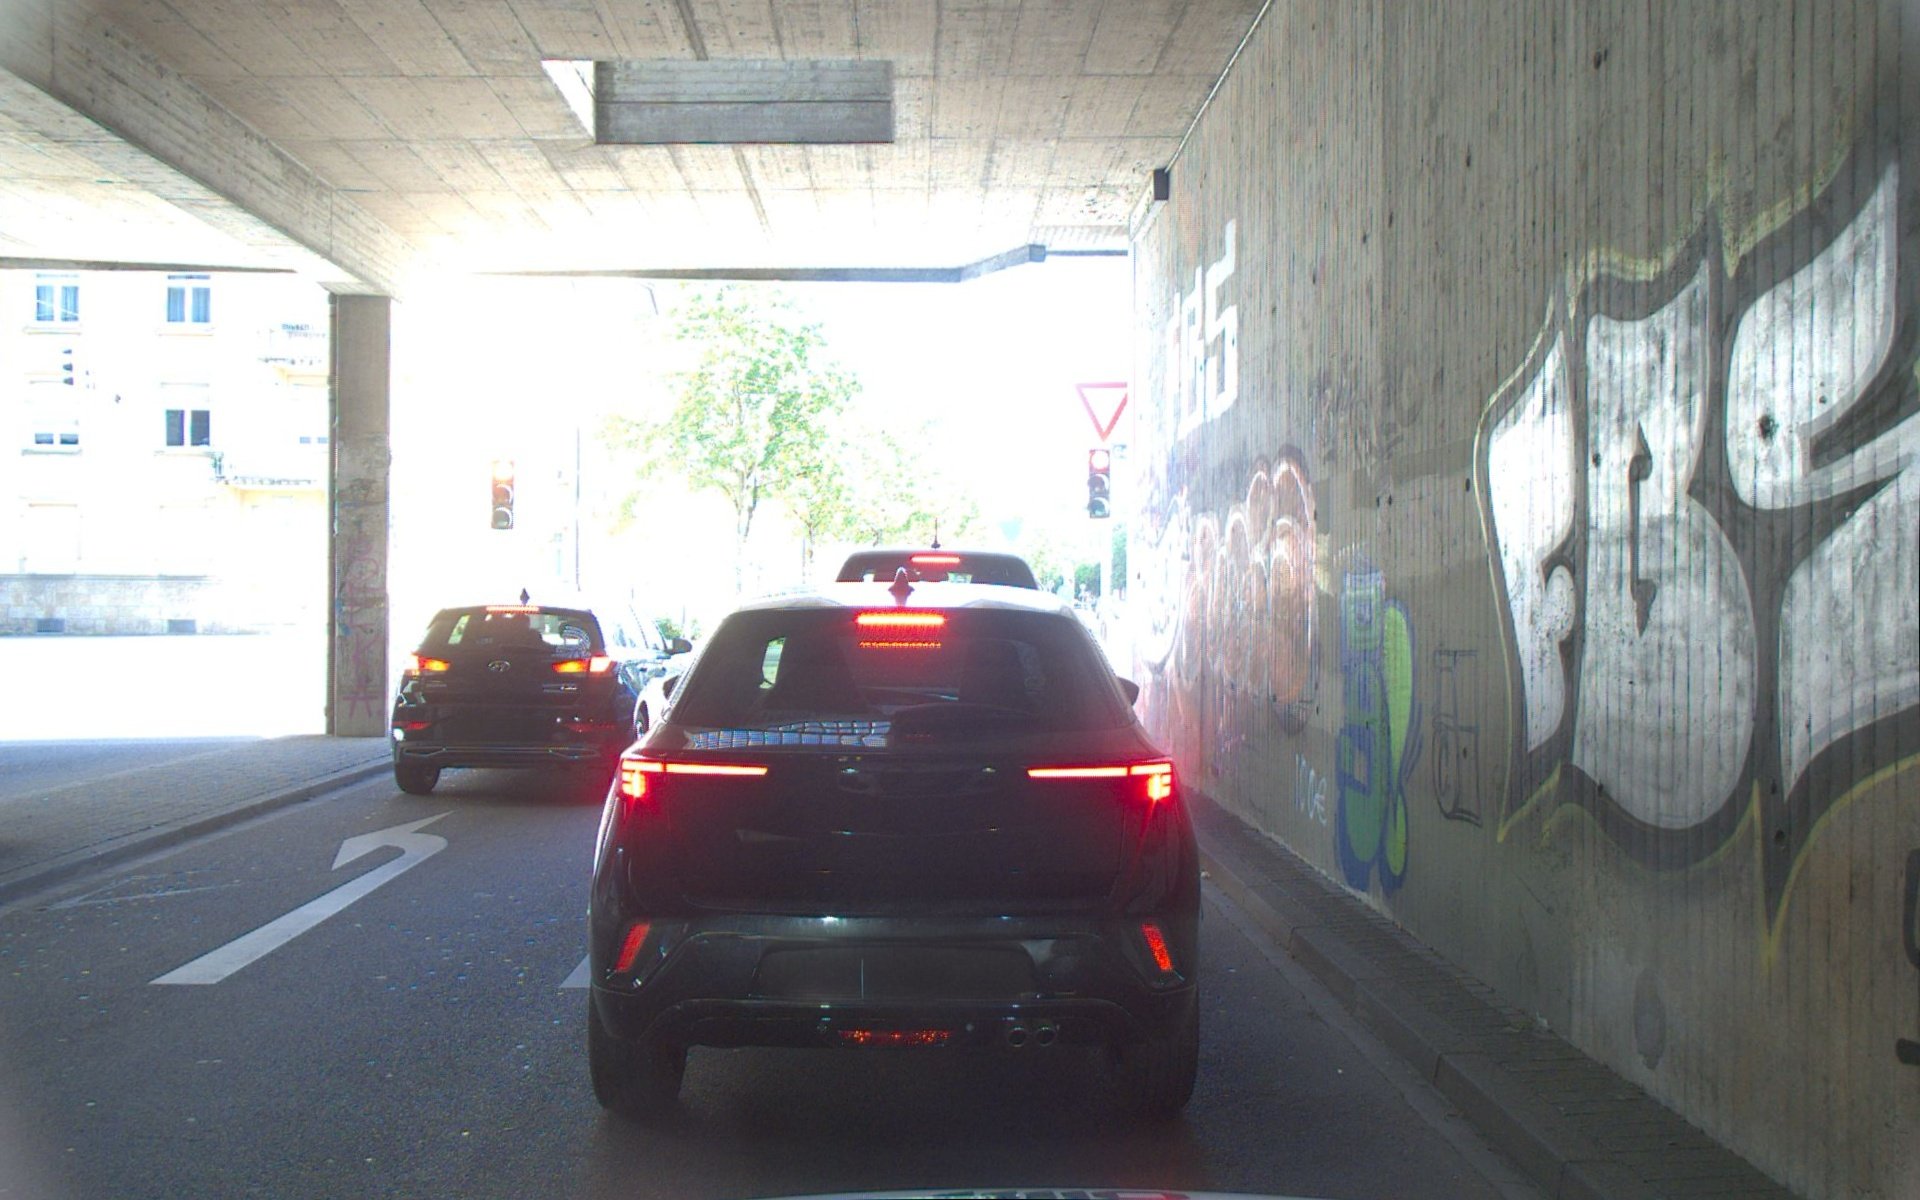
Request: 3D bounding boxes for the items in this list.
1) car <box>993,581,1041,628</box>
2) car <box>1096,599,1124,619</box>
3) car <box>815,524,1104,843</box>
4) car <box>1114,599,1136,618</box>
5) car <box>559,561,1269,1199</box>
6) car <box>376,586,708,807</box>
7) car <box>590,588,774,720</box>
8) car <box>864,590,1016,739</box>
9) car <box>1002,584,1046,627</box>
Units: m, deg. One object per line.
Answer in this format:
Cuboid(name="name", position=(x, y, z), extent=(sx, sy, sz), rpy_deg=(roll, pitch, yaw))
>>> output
Cuboid(name="car", position=(2.176, 0.180, 62.228), extent=(1.717, 1.696, 3.946), rpy_deg=(1, 0, 3))
Cuboid(name="car", position=(13.121, 0.786, 144.484), extent=(1.779, 1.696, 4.819), rpy_deg=(1, 0, 12))
Cuboid(name="car", position=(-0.031, 0.501, 12.033), extent=(1.726, 1.915, 4.145), rpy_deg=(0, 0, -1))
Cuboid(name="car", position=(15.754, 0.818, 157.664), extent=(1.716, 1.696, 3.948), rpy_deg=(1, 0, 10))
Cuboid(name="car", position=(-0.137, 0.683, 6.088), extent=(1.726, 1.558, 4.088), rpy_deg=(0, 0, -1))
Cuboid(name="car", position=(-3.148, 0.656, 13.231), extent=(1.726, 1.506, 3.843), rpy_deg=(0, 0, -1))
Cuboid(name="car", position=(-3.419, 0.617, 20.951), extent=(1.726, 1.506, 3.843), rpy_deg=(0, 0, -1))
Cuboid(name="car", position=(-0.237, 0.668, 19.247), extent=(1.576, 1.539, 4.053), rpy_deg=(0, 0, -1))
Cuboid(name="car", position=(2.665, 0.214, 68.354), extent=(1.717, 1.696, 3.946), rpy_deg=(1, 0, 3))
